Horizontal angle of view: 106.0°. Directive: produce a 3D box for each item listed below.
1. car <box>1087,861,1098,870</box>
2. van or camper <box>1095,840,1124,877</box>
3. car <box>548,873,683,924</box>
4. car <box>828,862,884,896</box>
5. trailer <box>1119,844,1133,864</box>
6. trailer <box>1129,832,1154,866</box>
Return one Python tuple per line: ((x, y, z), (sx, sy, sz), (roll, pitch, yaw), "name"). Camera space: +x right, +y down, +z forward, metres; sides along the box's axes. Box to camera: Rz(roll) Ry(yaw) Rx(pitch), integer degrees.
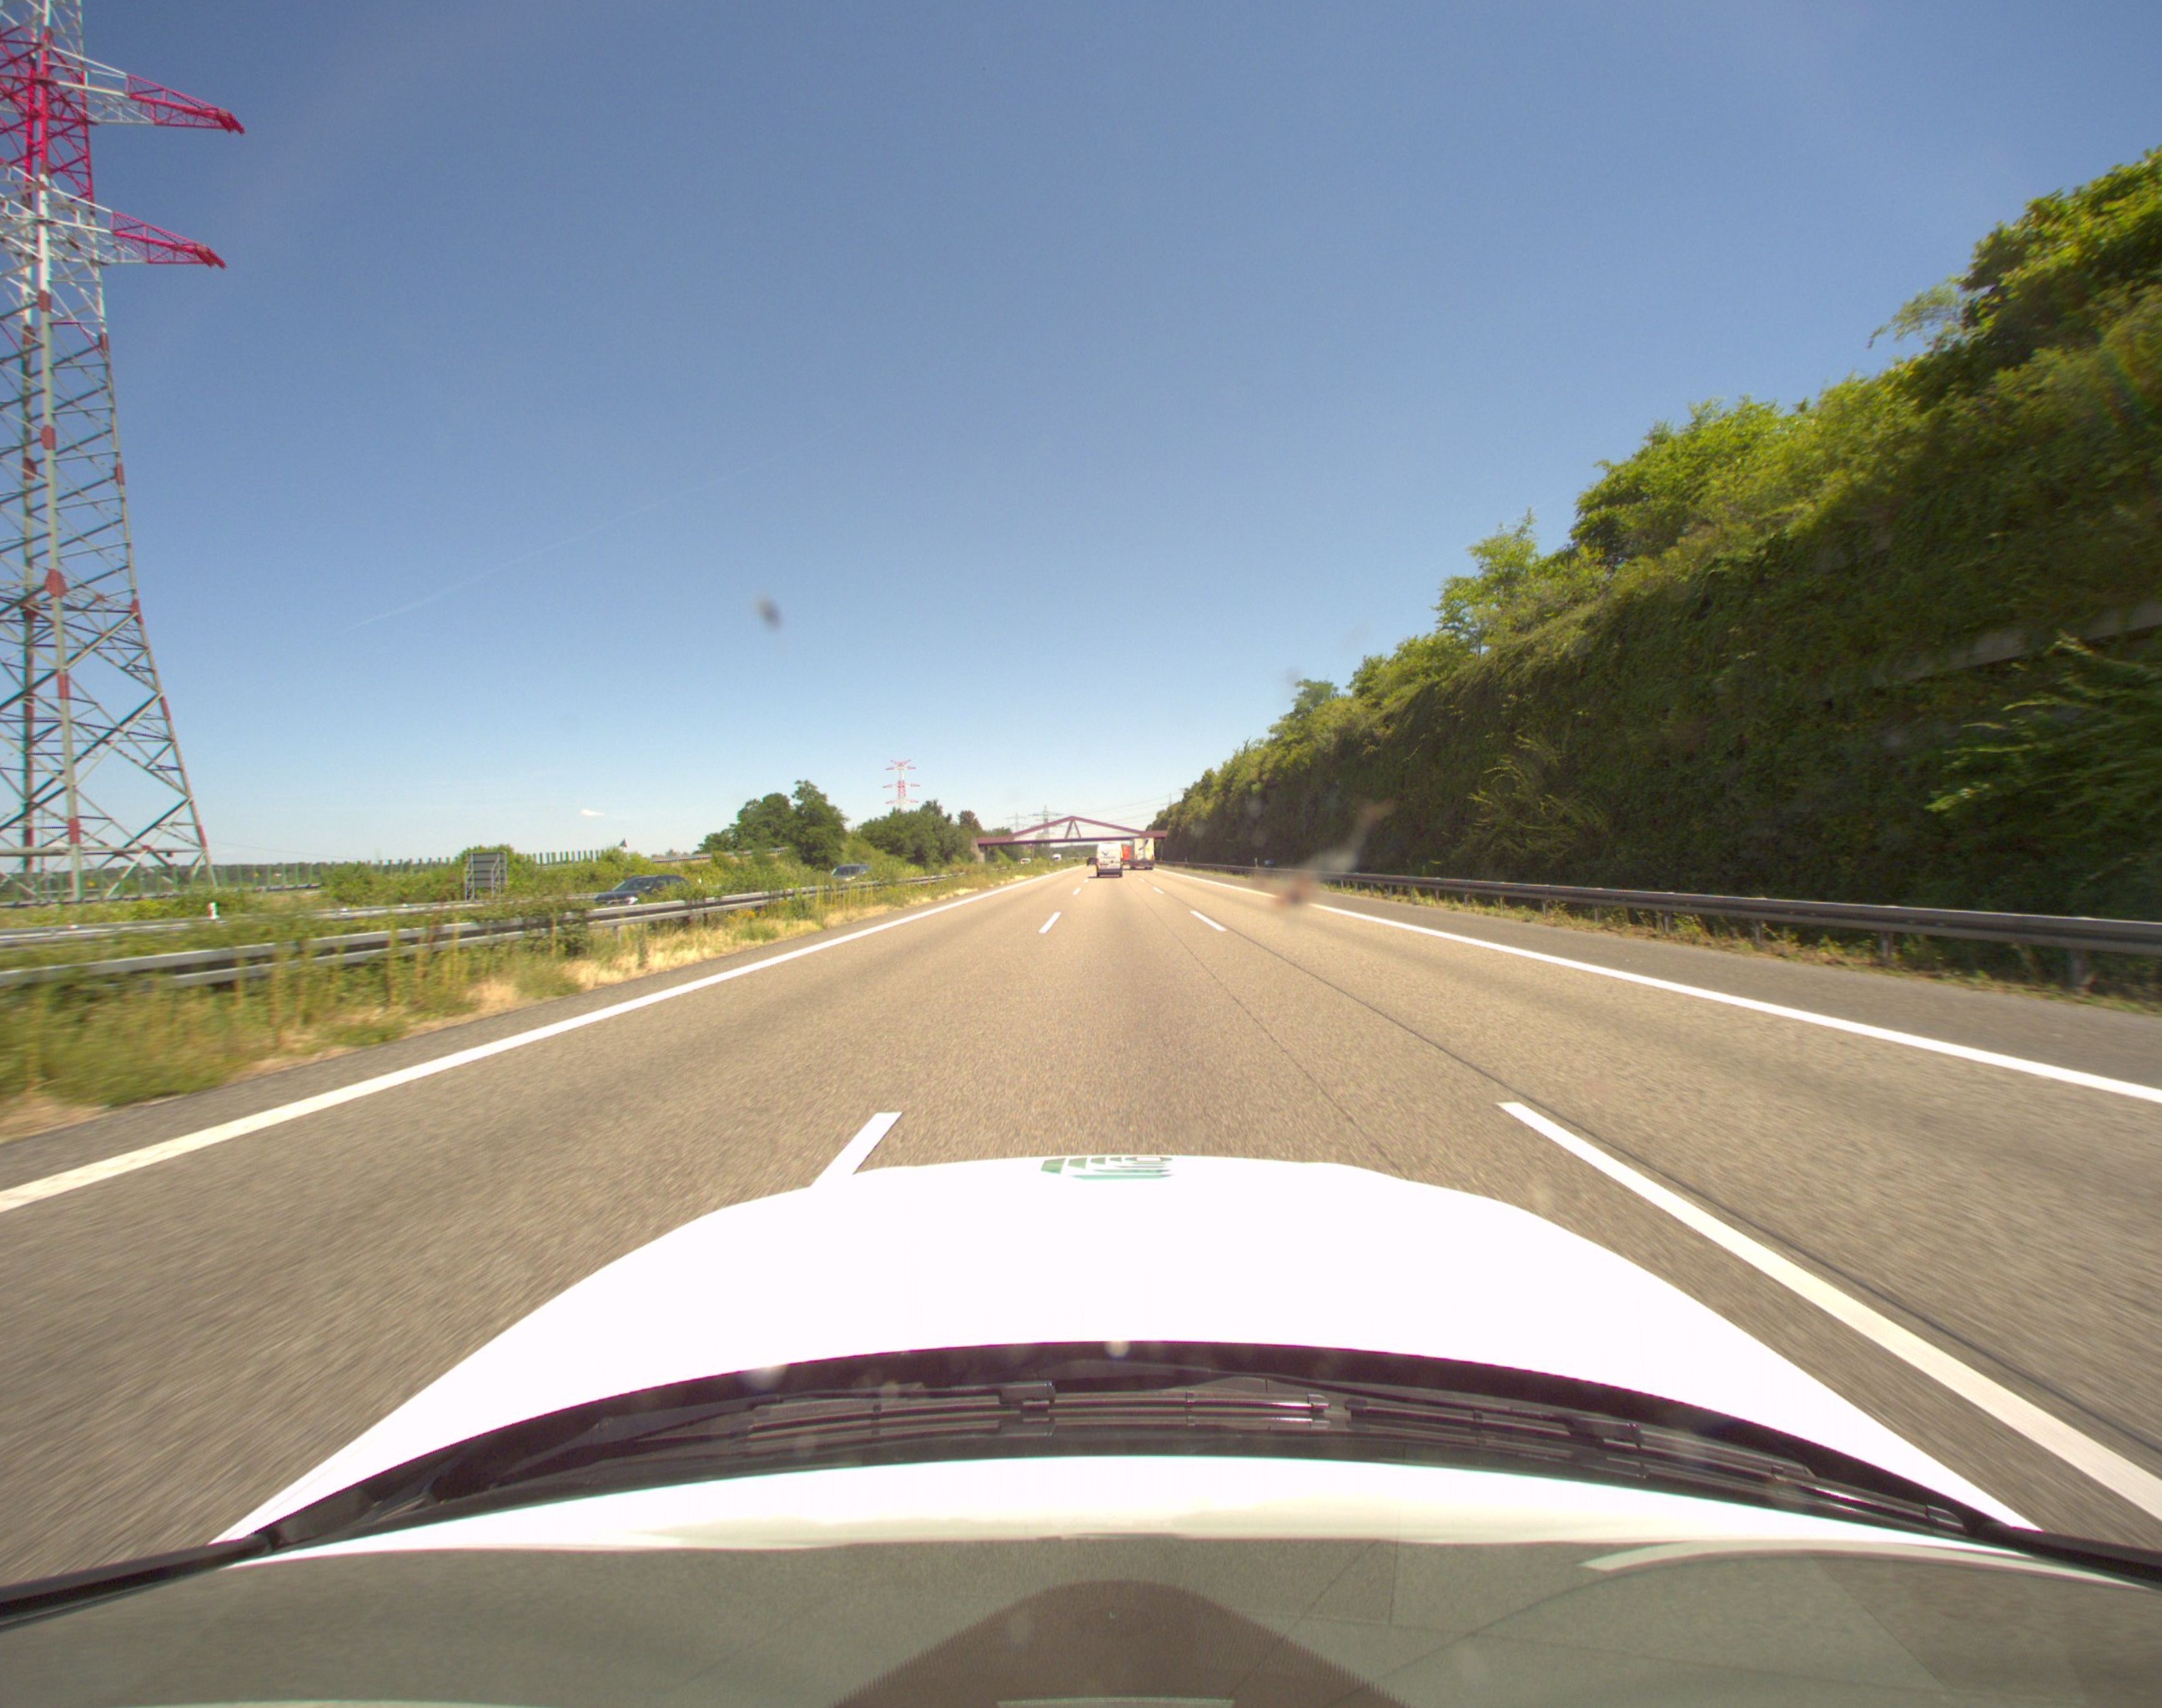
((2.394, 2.358, 163.787), (1.974, 1.817, 3.816), (0, 0, 3), "car")
((2.243, 0.353, 64.506), (2.222, 2.782, 5.424), (0, 0, 1), "van or camper")
((-15.368, 1.425, 27.207), (1.882, 1.387, 4.362), (-2, 0, 1), "car")
((-11.135, 1.201, 40.565), (1.595, 1.557, 3.855), (-2, 0, 1), "car")
((9.266, 0.042, 167.625), (2.627, 3.897, 7.072), (0, 0, 2), "trailer")
((7.583, -0.553, 103.329), (2.627, 4.060, 12.372), (0, 0, 2), "trailer")
